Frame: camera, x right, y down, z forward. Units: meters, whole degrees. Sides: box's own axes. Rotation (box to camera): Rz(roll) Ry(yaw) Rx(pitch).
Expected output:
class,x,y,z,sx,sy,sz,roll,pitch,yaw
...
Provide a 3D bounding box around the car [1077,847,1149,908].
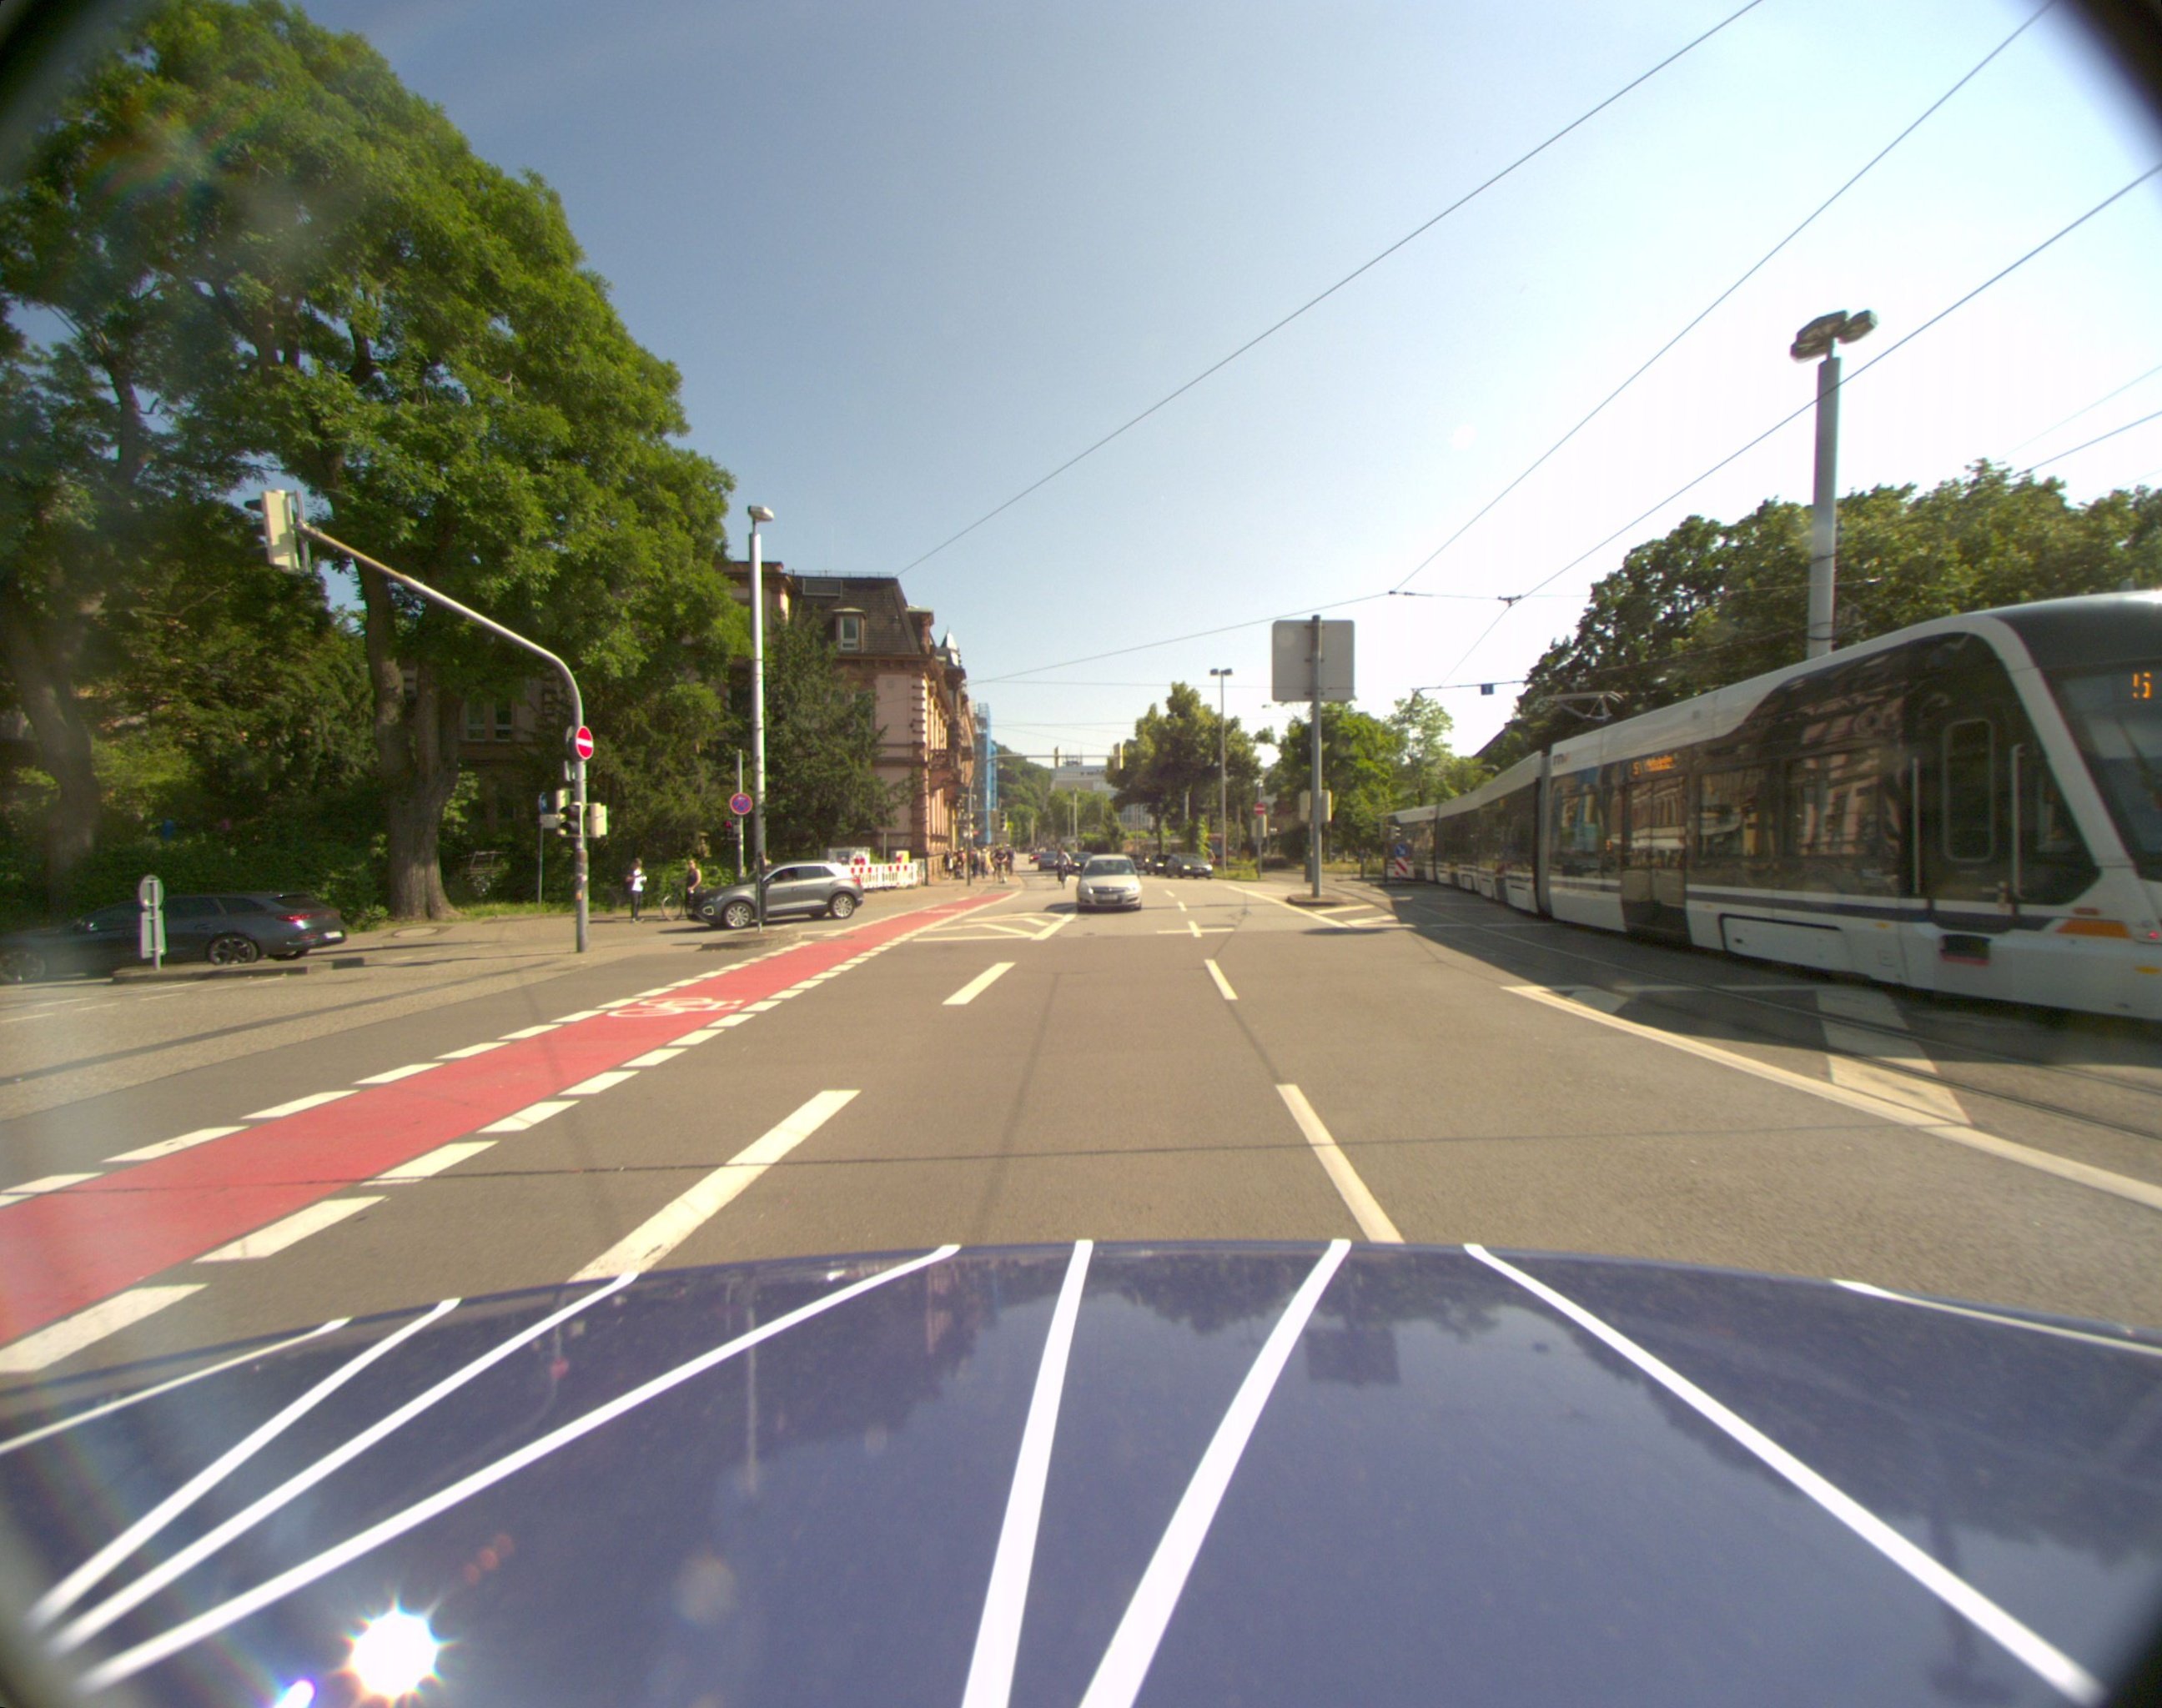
class,x,y,z,sx,sy,sz,roll,pitch,yaw
car,0.839,0.574,21.488,1.802,1.492,4.497,-1,1,1

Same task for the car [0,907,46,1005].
class,x,y,z,sx,sy,sz,roll,pitch,yaw
car,-17.414,1.539,10.037,4.316,1.350,1.880,-2,1,-9

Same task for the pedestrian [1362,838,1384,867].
class,x,y,z,sx,sy,sz,roll,pitch,yaw
pedestrian,23.001,-0.121,59.921,1.126,2.138,0.802,-8,0,1

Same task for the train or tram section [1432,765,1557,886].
class,x,y,z,sx,sy,sz,roll,pitch,yaw
train or tram section,15.050,-0.922,28.379,2.540,3.755,9.181,0,0,19

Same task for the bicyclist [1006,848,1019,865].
class,x,y,z,sx,sy,sz,roll,pitch,yaw
bicyclist,-4.958,0.159,54.939,0.913,1.227,1.232,0,1,-7

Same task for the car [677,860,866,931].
class,x,y,z,sx,sy,sz,roll,pitch,yaw
car,-7.737,0.952,19.176,4.001,1.507,1.930,-1,1,-42

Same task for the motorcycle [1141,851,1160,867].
class,x,y,z,sx,sy,sz,roll,pitch,yaw
motorcycle,5.178,0.334,56.519,0.903,1.156,2.351,-1,1,-7

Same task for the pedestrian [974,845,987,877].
class,x,y,z,sx,sy,sz,roll,pitch,yaw
pedestrian,-5.655,0.391,42.627,0.707,1.759,0.902,0,1,-8

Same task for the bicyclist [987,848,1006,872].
class,x,y,z,sx,sy,sz,roll,pitch,yaw
bicyclist,-4.330,0.303,38.962,0.923,1.212,0.971,0,1,-7

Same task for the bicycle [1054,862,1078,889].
class,x,y,z,sx,sy,sz,roll,pitch,yaw
bicycle,-0.655,0.896,32.559,0.644,1.077,2.494,0,1,-9

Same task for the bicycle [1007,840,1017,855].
class,x,y,z,sx,sy,sz,roll,pitch,yaw
bicycle,-4.963,-0.462,54.756,0.644,1.077,2.494,0,1,-7

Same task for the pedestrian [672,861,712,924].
class,x,y,z,sx,sy,sz,roll,pitch,yaw
pedestrian,-10.820,1.060,21.144,0.676,1.700,0.892,0,1,-5

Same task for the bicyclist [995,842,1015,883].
class,x,y,z,sx,sy,sz,roll,pitch,yaw
bicyclist,-3.763,0.395,37.647,0.944,2.002,0.829,0,1,-7

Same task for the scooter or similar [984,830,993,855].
class,x,y,z,sx,sy,sz,roll,pitch,yaw
scooter or similar,-7.399,-0.924,61.033,0.694,2.002,1.094,0,1,-7

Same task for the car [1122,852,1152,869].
class,x,y,z,sx,sy,sz,roll,pitch,yaw
car,4.518,0.524,61.708,1.638,1.301,3.911,0,1,-7

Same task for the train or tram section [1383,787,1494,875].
class,x,y,z,sx,sy,sz,roll,pitch,yaw
train or tram section,17.044,-1.033,36.970,2.541,3.755,9.175,0,1,10

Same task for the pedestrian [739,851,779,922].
class,x,y,z,sx,sy,sz,roll,pitch,yaw
pedestrian,-9.417,0.927,22.261,0.777,2.002,1.059,0,1,-6

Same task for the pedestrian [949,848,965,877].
class,x,y,z,sx,sy,sz,roll,pitch,yaw
pedestrian,-7.085,0.484,43.343,0.814,1.593,0.815,2,1,-7

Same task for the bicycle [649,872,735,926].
class,x,y,z,sx,sy,sz,roll,pitch,yaw
bicycle,-10.917,1.227,21.439,0.801,1.199,2.275,2,5,15

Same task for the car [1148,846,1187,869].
class,x,y,z,sx,sy,sz,roll,pitch,yaw
car,5.626,0.199,49.794,1.798,1.403,3.997,0,1,-5

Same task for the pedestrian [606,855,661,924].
class,x,y,z,sx,sy,sz,roll,pitch,yaw
pedestrian,-12.209,0.946,20.748,1.060,1.772,0.700,-2,5,-15

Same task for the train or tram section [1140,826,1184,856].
class,x,y,z,sx,sy,sz,roll,pitch,yaw
train or tram section,9.598,-1.499,92.093,2.768,3.384,12.403,0,1,-6

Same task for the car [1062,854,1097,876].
class,x,y,z,sx,sy,sz,roll,pitch,yaw
car,-0.146,0.668,49.529,1.895,1.323,3.998,-2,0,-5

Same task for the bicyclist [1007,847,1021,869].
class,x,y,z,sx,sy,sz,roll,pitch,yaw
bicyclist,-4.491,0.255,50.888,0.913,1.428,1.232,0,1,-7

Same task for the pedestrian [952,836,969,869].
class,x,y,z,sx,sy,sz,roll,pitch,yaw
pedestrian,-6.651,-0.075,41.971,0.814,1.783,0.815,2,1,-7

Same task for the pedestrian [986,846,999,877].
class,x,y,z,sx,sy,sz,roll,pitch,yaw
pedestrian,-4.976,0.408,42.907,0.707,1.743,0.902,0,2,-8

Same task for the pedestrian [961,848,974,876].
class,x,y,z,sx,sy,sz,roll,pitch,yaw
pedestrian,-8.437,0.598,56.559,0.814,2.002,0.815,2,1,-7

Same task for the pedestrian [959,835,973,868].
class,x,y,z,sx,sy,sz,roll,pitch,yaw
pedestrian,-7.086,-0.159,46.860,0.814,2.002,0.815,2,1,-7

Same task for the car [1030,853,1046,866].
class,x,y,z,sx,sy,sz,roll,pitch,yaw
car,-5.556,0.731,98.010,1.999,1.565,3.998,-2,0,-4

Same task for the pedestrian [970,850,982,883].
class,x,y,z,sx,sy,sz,roll,pitch,yaw
pedestrian,-6.024,0.705,43.514,0.636,1.880,0.902,-1,1,-8

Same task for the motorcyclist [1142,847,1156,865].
class,x,y,z,sx,sy,sz,roll,pitch,yaw
motorcyclist,5.095,0.160,57.009,0.903,1.351,0.992,0,1,-7

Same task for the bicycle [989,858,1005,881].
class,x,y,z,sx,sy,sz,roll,pitch,yaw
bicycle,-4.334,0.791,39.053,0.781,1.096,2.137,0,1,-8

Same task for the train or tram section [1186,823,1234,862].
class,x,y,z,sx,sy,sz,roll,pitch,yaw
train or tram section,11.846,-1.042,70.309,2.768,3.384,5.882,0,1,-7

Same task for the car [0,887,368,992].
class,x,y,z,sx,sy,sz,roll,pitch,yaw
car,-16.726,1.508,14.334,4.289,1.482,1.996,-2,1,-22

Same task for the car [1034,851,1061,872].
class,x,y,z,sx,sy,sz,roll,pitch,yaw
car,-2.684,0.582,60.344,1.999,1.565,3.998,-2,0,-4

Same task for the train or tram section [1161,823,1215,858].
class,x,y,z,sx,sy,sz,roll,pitch,yaw
train or tram section,10.916,-1.364,79.279,2.768,3.384,12.403,0,1,-6

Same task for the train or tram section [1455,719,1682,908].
class,x,y,z,sx,sy,sz,roll,pitch,yaw
train or tram section,11.865,-0.806,19.660,2.407,3.660,9.631,0,0,17

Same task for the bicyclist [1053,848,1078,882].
class,x,y,z,sx,sy,sz,roll,pitch,yaw
bicyclist,-0.663,0.457,32.569,0.913,1.385,1.231,0,1,-10

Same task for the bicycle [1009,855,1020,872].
class,x,y,z,sx,sy,sz,roll,pitch,yaw
bicycle,-4.490,0.649,51.008,0.644,1.077,2.494,0,1,-7

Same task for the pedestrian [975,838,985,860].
class,x,y,z,sx,sy,sz,roll,pitch,yaw
pedestrian,-7.821,-0.380,58.748,0.707,1.685,0.628,0,2,-3

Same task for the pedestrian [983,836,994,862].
class,x,y,z,sx,sy,sz,roll,pitch,yaw
pedestrian,-7.365,-0.405,60.658,0.814,2.002,0.815,2,1,-7

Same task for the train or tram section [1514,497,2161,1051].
class,x,y,z,sx,sy,sz,roll,pitch,yaw
train or tram section,9.395,-0.578,9.995,2.474,3.755,11.858,0,0,10

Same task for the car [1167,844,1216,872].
class,x,y,z,sx,sy,sz,roll,pitch,yaw
car,6.311,0.190,43.863,1.753,1.477,4.744,1,1,-5

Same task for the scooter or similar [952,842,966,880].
class,x,y,z,sx,sy,sz,roll,pitch,yaw
scooter or similar,-6.577,0.358,41.102,0.694,2.002,1.094,0,1,-7
